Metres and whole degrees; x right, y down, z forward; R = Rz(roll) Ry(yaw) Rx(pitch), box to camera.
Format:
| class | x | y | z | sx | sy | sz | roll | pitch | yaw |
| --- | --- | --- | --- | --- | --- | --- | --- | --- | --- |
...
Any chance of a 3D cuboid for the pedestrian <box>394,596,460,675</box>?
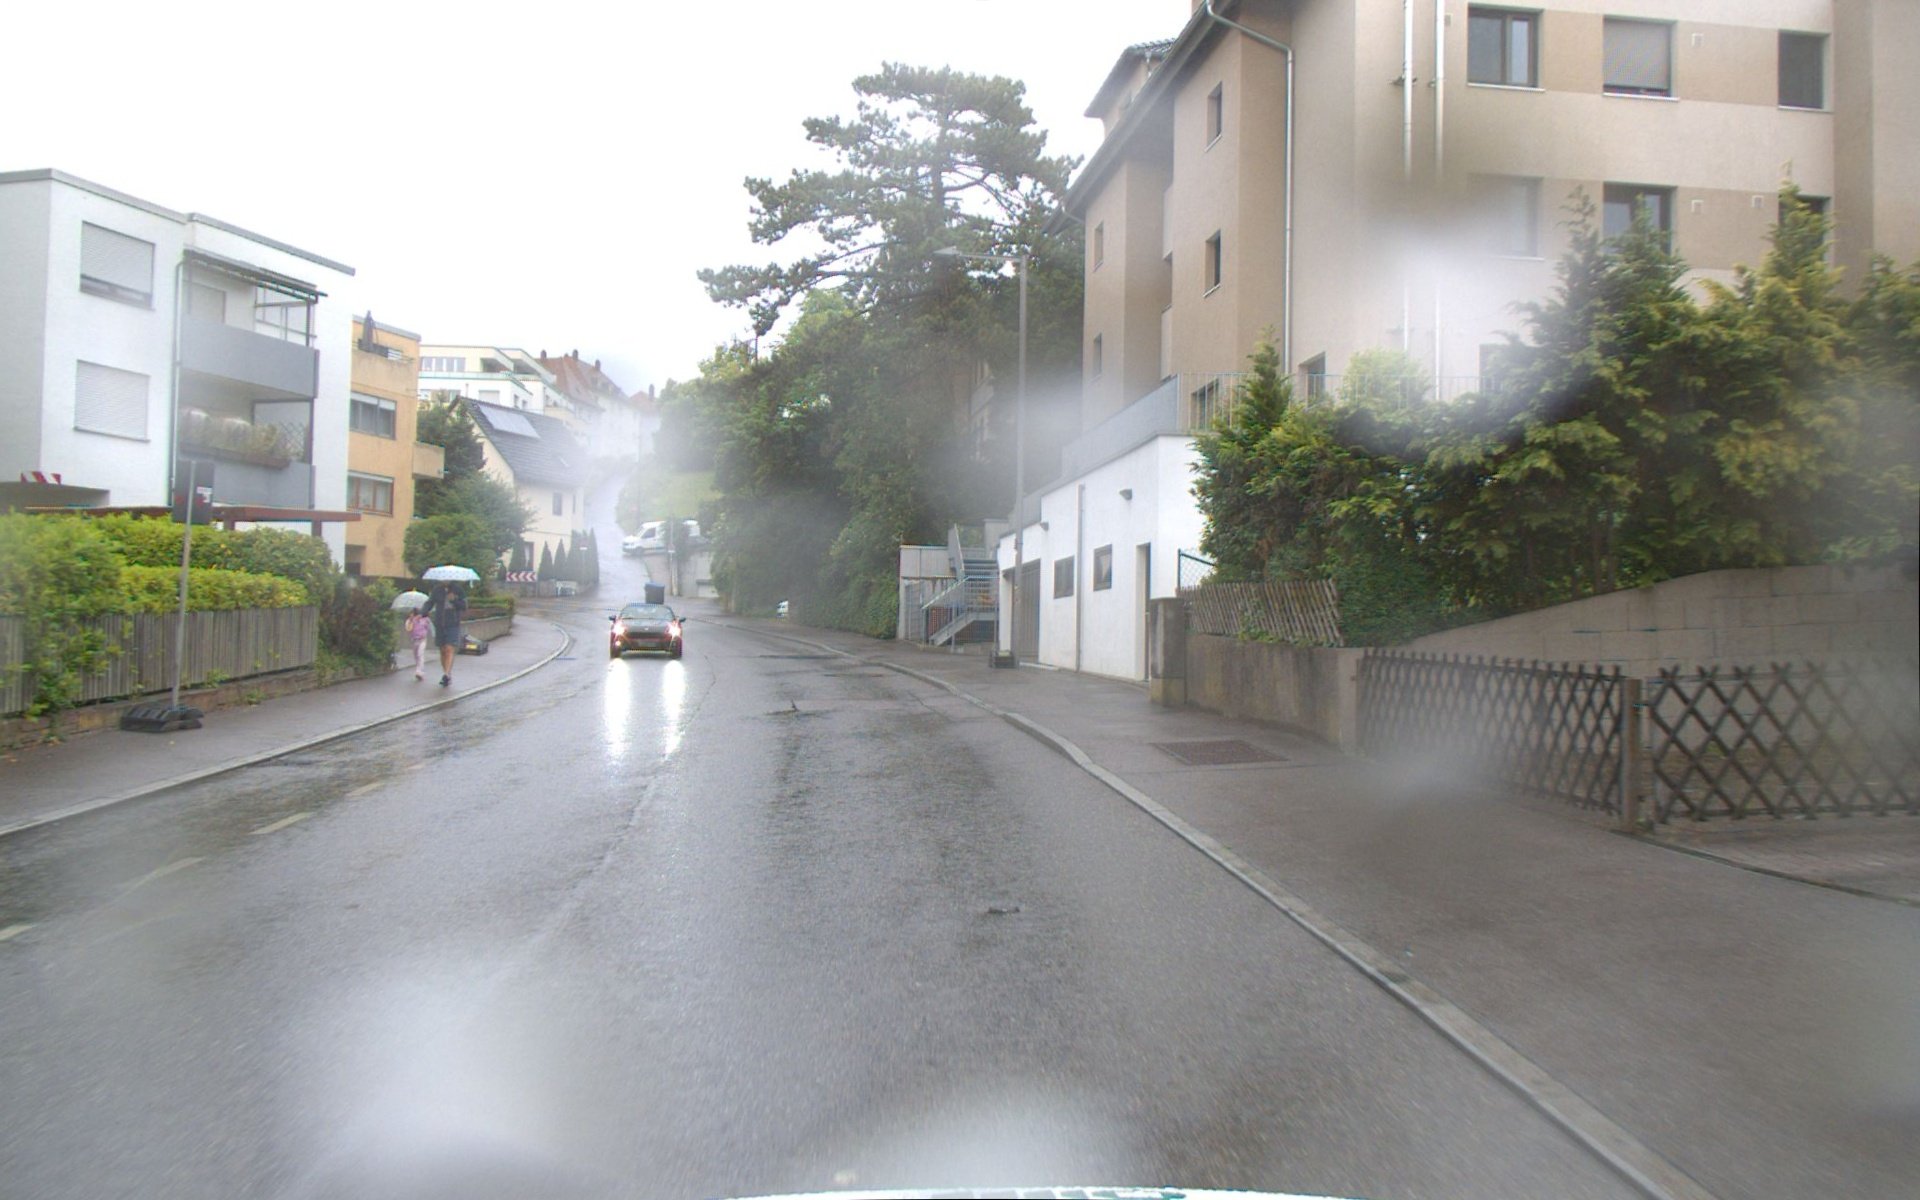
| class | x | y | z | sx | sy | sz | roll | pitch | yaw |
| --- | --- | --- | --- | --- | --- | --- | --- | --- | --- |
| pedestrian | -8.535 | 0.551 | 26.524 | 0.741 | 1.200 | 1.038 | 3 | 0 | -6 |

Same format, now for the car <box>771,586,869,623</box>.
| class | x | y | z | sx | sy | sz | roll | pitch | yaw |
| --- | --- | --- | --- | --- | --- | --- | --- | --- | --- |
| car | -6.238 | 0.178 | 73.764 | 4.075 | 1.502 | 1.897 | -1 | 1 | -16 |

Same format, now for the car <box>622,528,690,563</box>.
| class | x | y | z | sx | sy | sz | roll | pitch | yaw |
| --- | --- | --- | --- | --- | --- | --- | --- | --- | --- |
| car | -23.095 | -4.124 | 125.638 | 4.869 | 2.614 | 1.894 | -1 | 1 | -19 |

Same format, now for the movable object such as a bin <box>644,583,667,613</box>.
| class | x | y | z | sx | sy | sz | roll | pitch | yaw |
| --- | --- | --- | --- | --- | --- | --- | --- | --- | --- |
| movable object such as a bin | -15.670 | -0.101 | 85.107 | 1.063 | 1.467 | 1.453 | 2 | 0 | -12 |

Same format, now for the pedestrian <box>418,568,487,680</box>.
| class | x | y | z | sx | sy | sz | roll | pitch | yaw |
| --- | --- | --- | --- | --- | --- | --- | --- | --- | --- |
| pedestrian | -7.879 | 0.363 | 25.715 | 0.741 | 1.672 | 1.038 | 3 | 0 | -6 |

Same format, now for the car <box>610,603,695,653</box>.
| class | x | y | z | sx | sy | sz | roll | pitch | yaw |
| --- | --- | --- | --- | --- | --- | --- | --- | --- | --- |
| car | -7.583 | 0.667 | 41.038 | 1.646 | 1.166 | 3.996 | 1 | 0 | -4 |

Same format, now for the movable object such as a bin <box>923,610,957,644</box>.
| class | x | y | z | sx | sy | sz | roll | pitch | yaw |
| --- | --- | --- | --- | --- | --- | --- | --- | --- | --- |
| movable object such as a bin | -0.586 | 0.787 | 47.994 | 0.859 | 0.957 | 0.744 | 1 | 0 | -13 |
